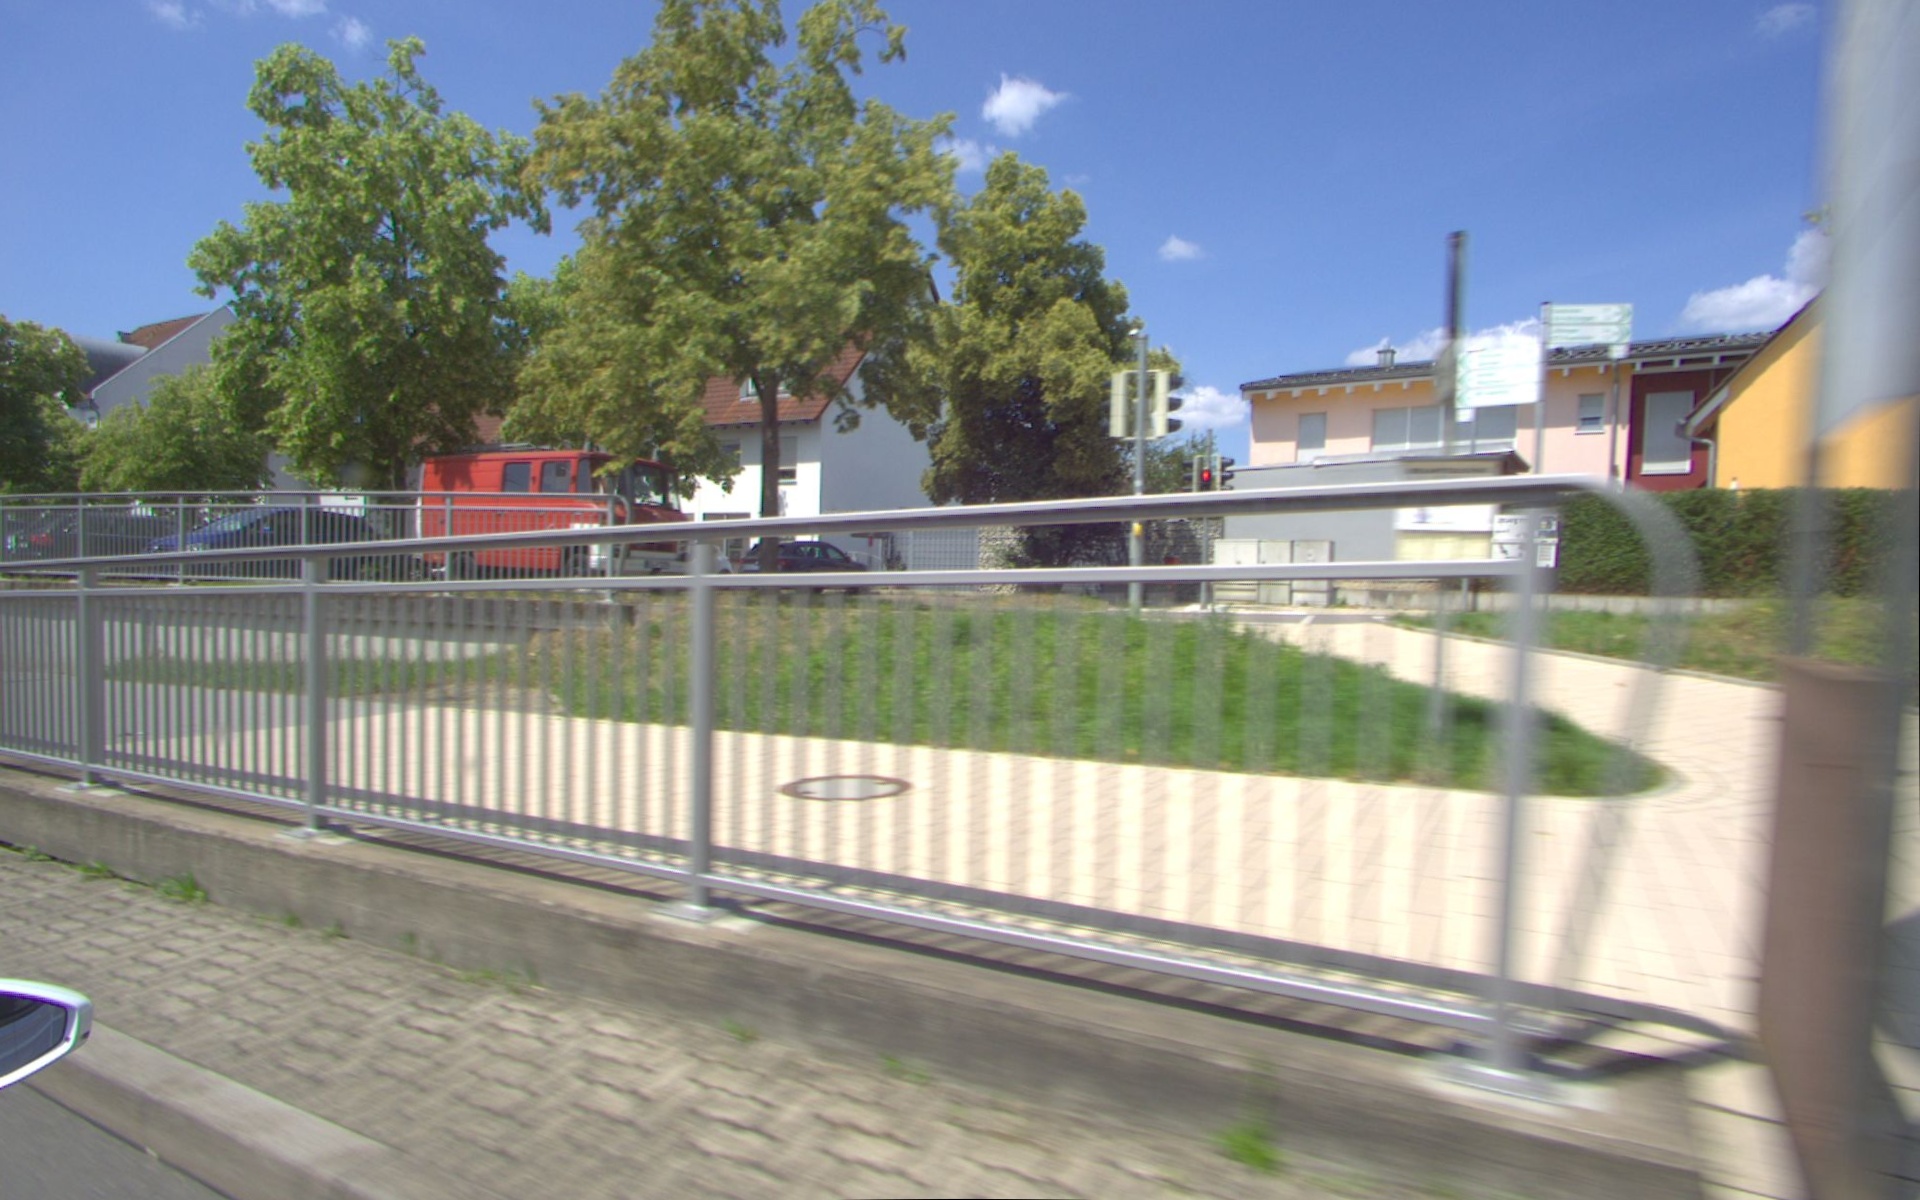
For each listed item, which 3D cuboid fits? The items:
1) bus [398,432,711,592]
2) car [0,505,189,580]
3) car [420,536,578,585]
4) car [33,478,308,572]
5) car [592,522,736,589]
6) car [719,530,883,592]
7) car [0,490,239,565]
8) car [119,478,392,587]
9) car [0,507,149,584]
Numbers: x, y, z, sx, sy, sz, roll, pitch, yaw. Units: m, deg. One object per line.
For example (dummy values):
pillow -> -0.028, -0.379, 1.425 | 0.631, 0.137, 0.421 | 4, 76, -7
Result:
bus -> -7.060, -1.468, 17.294 | 5.280, 2.400, 2.185 | 3, 3, 29
car -> -19.834, -1.245, 22.241 | 1.699, 1.447, 3.979 | 2, 0, 32
car -> -15.221, -1.283, 33.304 | 1.970, 1.500, 4.476 | 3, 2, 30
car -> -15.790, -1.418, 20.280 | 1.744, 1.654, 3.984 | 0, 1, 27
car -> -8.689, -1.240, 29.726 | 1.835, 1.650, 3.984 | -1, -2, 29
car -> -4.170, -1.029, 27.005 | 1.970, 1.500, 4.476 | 3, 2, 30
car -> -17.837, -1.437, 21.046 | 1.746, 1.324, 3.979 | 0, 1, 30
car -> -13.432, -1.187, 19.398 | 1.831, 1.650, 3.993 | -1, -2, 21
car -> -21.420, -1.240, 23.033 | 1.700, 1.576, 3.979 | -1, -1, 32
